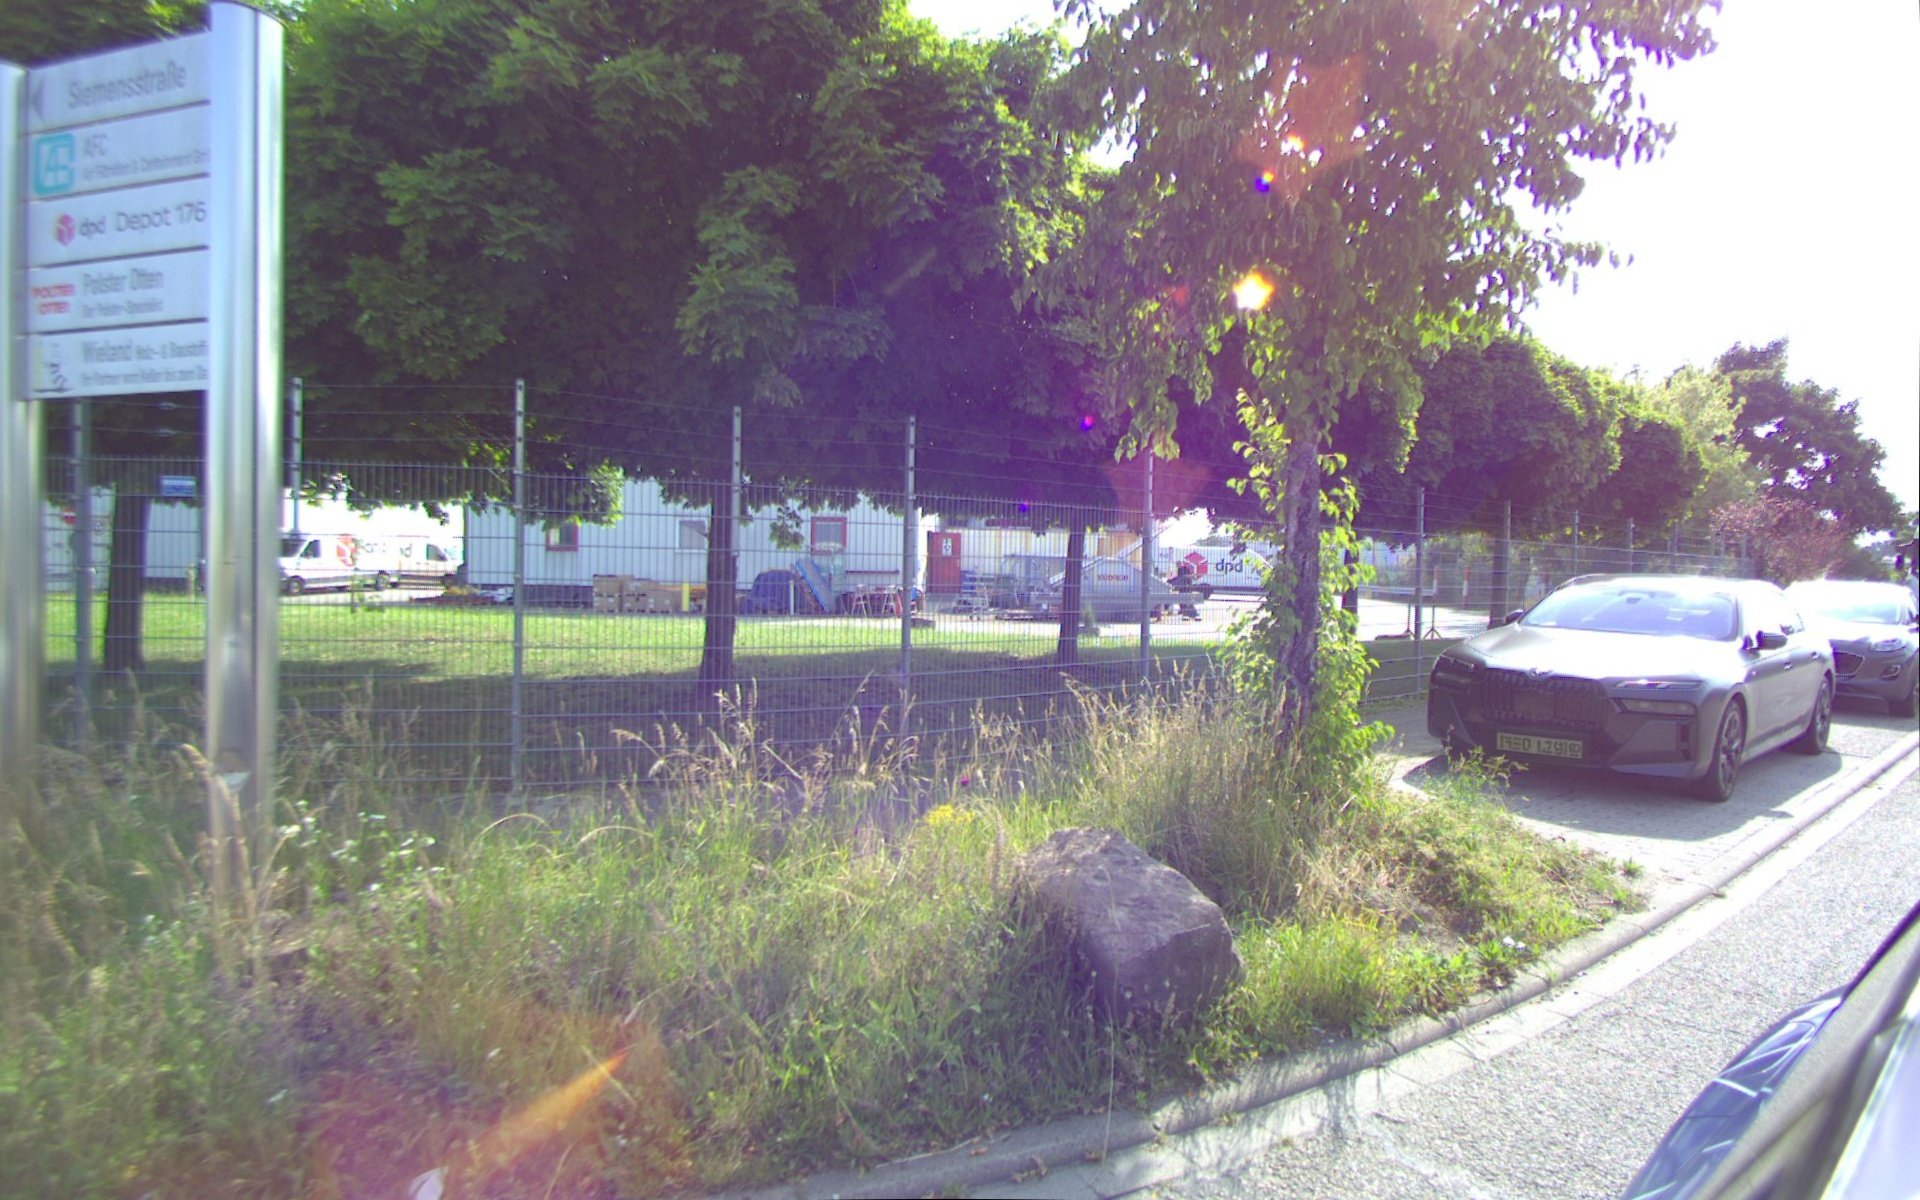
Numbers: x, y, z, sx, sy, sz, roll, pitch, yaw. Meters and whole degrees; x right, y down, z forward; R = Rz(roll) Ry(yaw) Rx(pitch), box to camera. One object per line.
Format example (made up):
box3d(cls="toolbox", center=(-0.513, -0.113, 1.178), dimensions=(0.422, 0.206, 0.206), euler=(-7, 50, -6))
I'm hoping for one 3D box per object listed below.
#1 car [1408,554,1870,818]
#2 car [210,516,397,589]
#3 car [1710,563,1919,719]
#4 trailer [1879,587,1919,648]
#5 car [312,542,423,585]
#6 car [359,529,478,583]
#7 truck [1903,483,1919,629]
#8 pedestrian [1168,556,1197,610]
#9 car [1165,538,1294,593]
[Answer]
box3d(cls="car", center=(5.984, 0.463, 8.626), dimensions=(5.028, 1.593, 1.885), euler=(-1, 4, -40))
box3d(cls="car", center=(-25.009, -1.829, 38.988), dimensions=(2.139, 2.548, 6.686), euler=(1, 3, 9))
box3d(cls="car", center=(11.453, 0.390, 13.056), dimensions=(4.041, 1.592, 1.886), euler=(-1, 5, -40))
box3d(cls="trailer", center=(23.263, 0.396, 23.530), dimensions=(7.322, 1.250, 1.943), euler=(0, 4, -41))
box3d(cls="car", center=(-29.754, -1.864, 50.870), dimensions=(4.774, 1.988, 1.925), euler=(2, 2, 12))
box3d(cls="car", center=(-25.133, -2.059, 47.015), dimensions=(4.774, 2.317, 1.925), euler=(2, 2, 12))
box3d(cls="truck", center=(29.261, -1.134, 28.889), dimensions=(5.944, 4.011, 2.697), euler=(0, 4, -42))
box3d(cls="pedestrian", center=(7.425, -0.566, 33.728), dimensions=(0.847, 1.743, 0.628), euler=(2, 1, 19))
box3d(cls="car", center=(13.818, -1.787, 52.319), dimensions=(6.170, 2.681, 2.207), euler=(2, 2, 9))
